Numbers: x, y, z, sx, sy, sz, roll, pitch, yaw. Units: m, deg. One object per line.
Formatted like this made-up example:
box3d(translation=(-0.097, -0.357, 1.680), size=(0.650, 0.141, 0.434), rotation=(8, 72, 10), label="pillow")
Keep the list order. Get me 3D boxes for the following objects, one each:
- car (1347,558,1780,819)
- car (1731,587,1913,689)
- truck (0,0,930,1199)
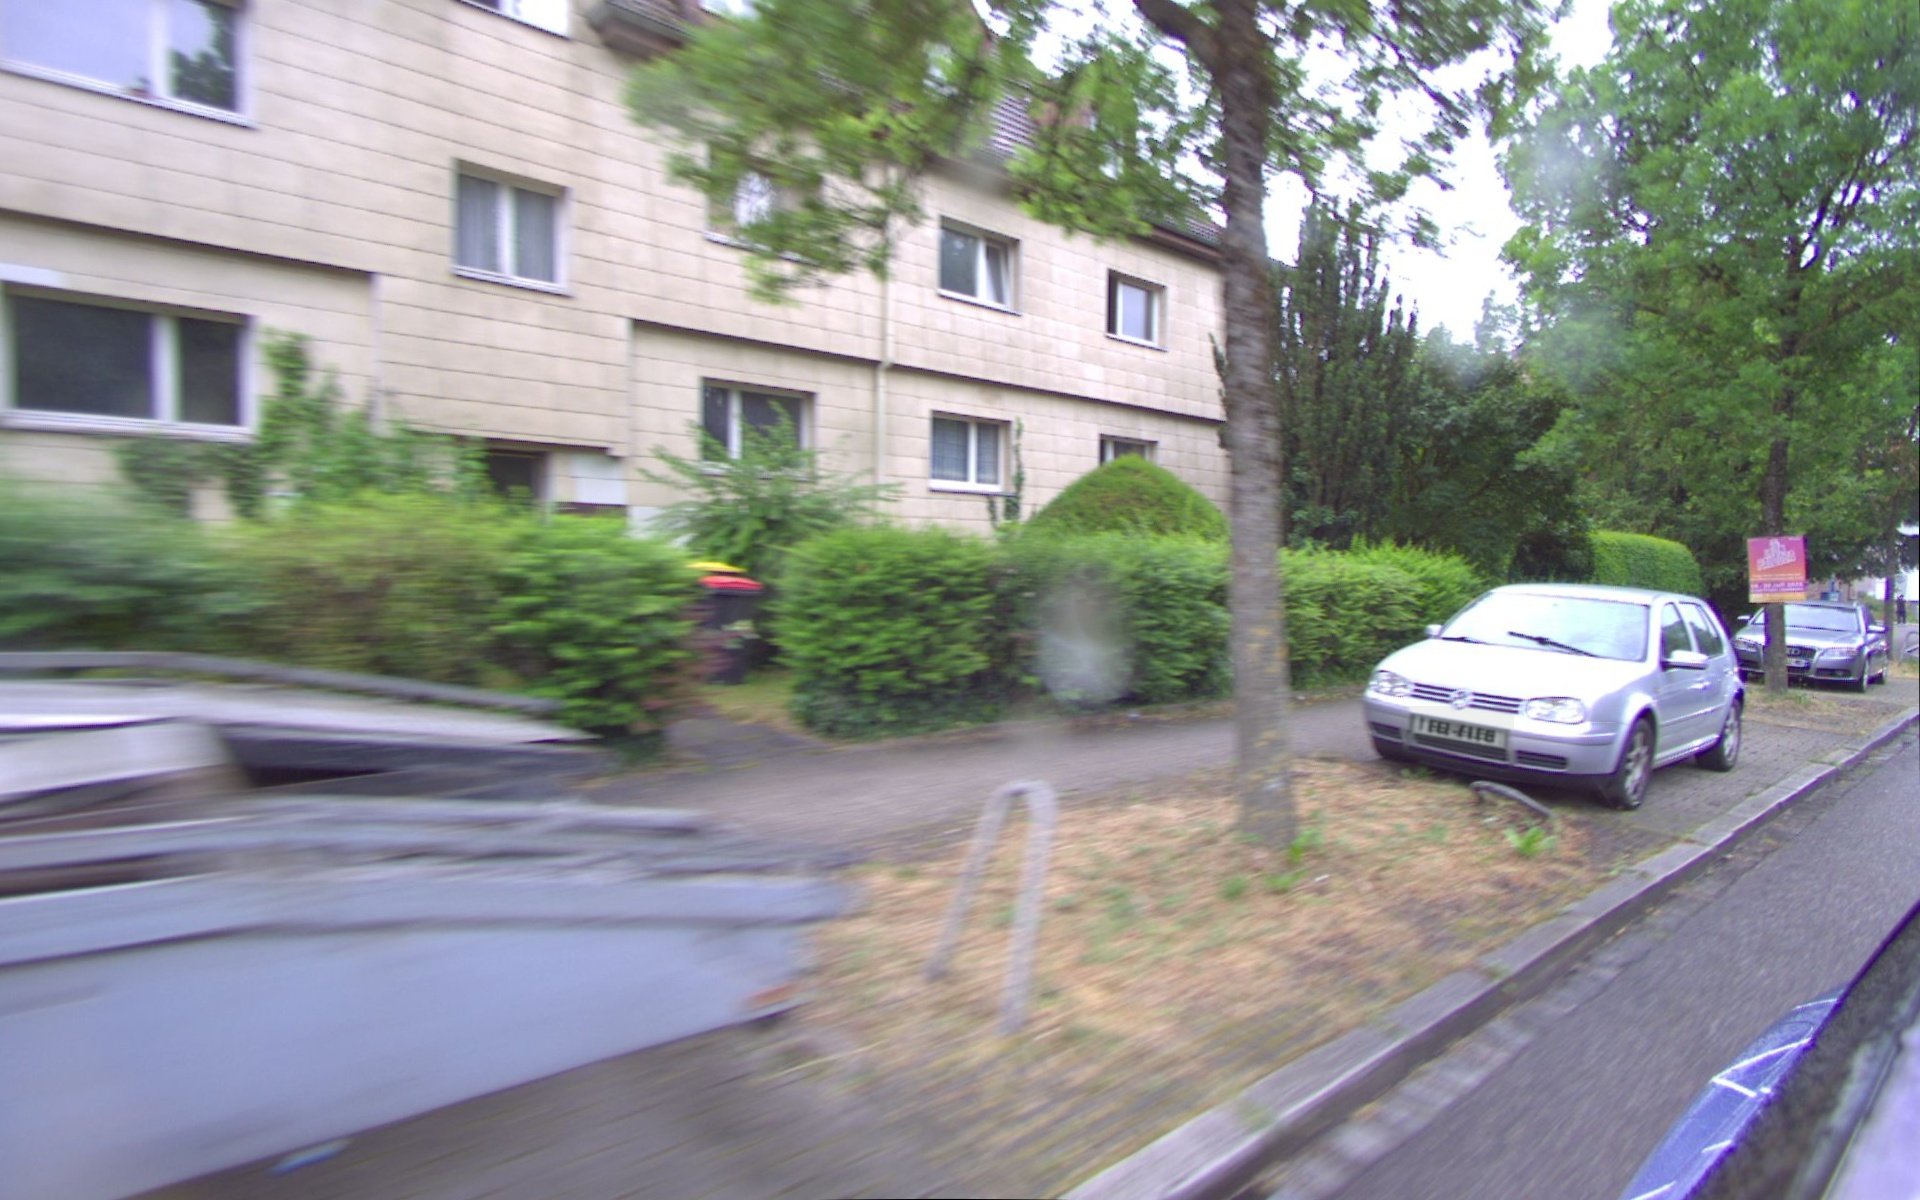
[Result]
box3d(translation=(4.815, 0.525, 7.843), size=(3.950, 1.453, 1.606), rotation=(1, 4, -40), label="car")
box3d(translation=(14.605, 0.551, 17.060), size=(4.422, 1.406, 1.691), rotation=(0, 4, -42), label="car")
box3d(translation=(-3.176, 0.098, 0.834), size=(6.389, 2.248, 2.085), rotation=(0, 4, -42), label="truck")
